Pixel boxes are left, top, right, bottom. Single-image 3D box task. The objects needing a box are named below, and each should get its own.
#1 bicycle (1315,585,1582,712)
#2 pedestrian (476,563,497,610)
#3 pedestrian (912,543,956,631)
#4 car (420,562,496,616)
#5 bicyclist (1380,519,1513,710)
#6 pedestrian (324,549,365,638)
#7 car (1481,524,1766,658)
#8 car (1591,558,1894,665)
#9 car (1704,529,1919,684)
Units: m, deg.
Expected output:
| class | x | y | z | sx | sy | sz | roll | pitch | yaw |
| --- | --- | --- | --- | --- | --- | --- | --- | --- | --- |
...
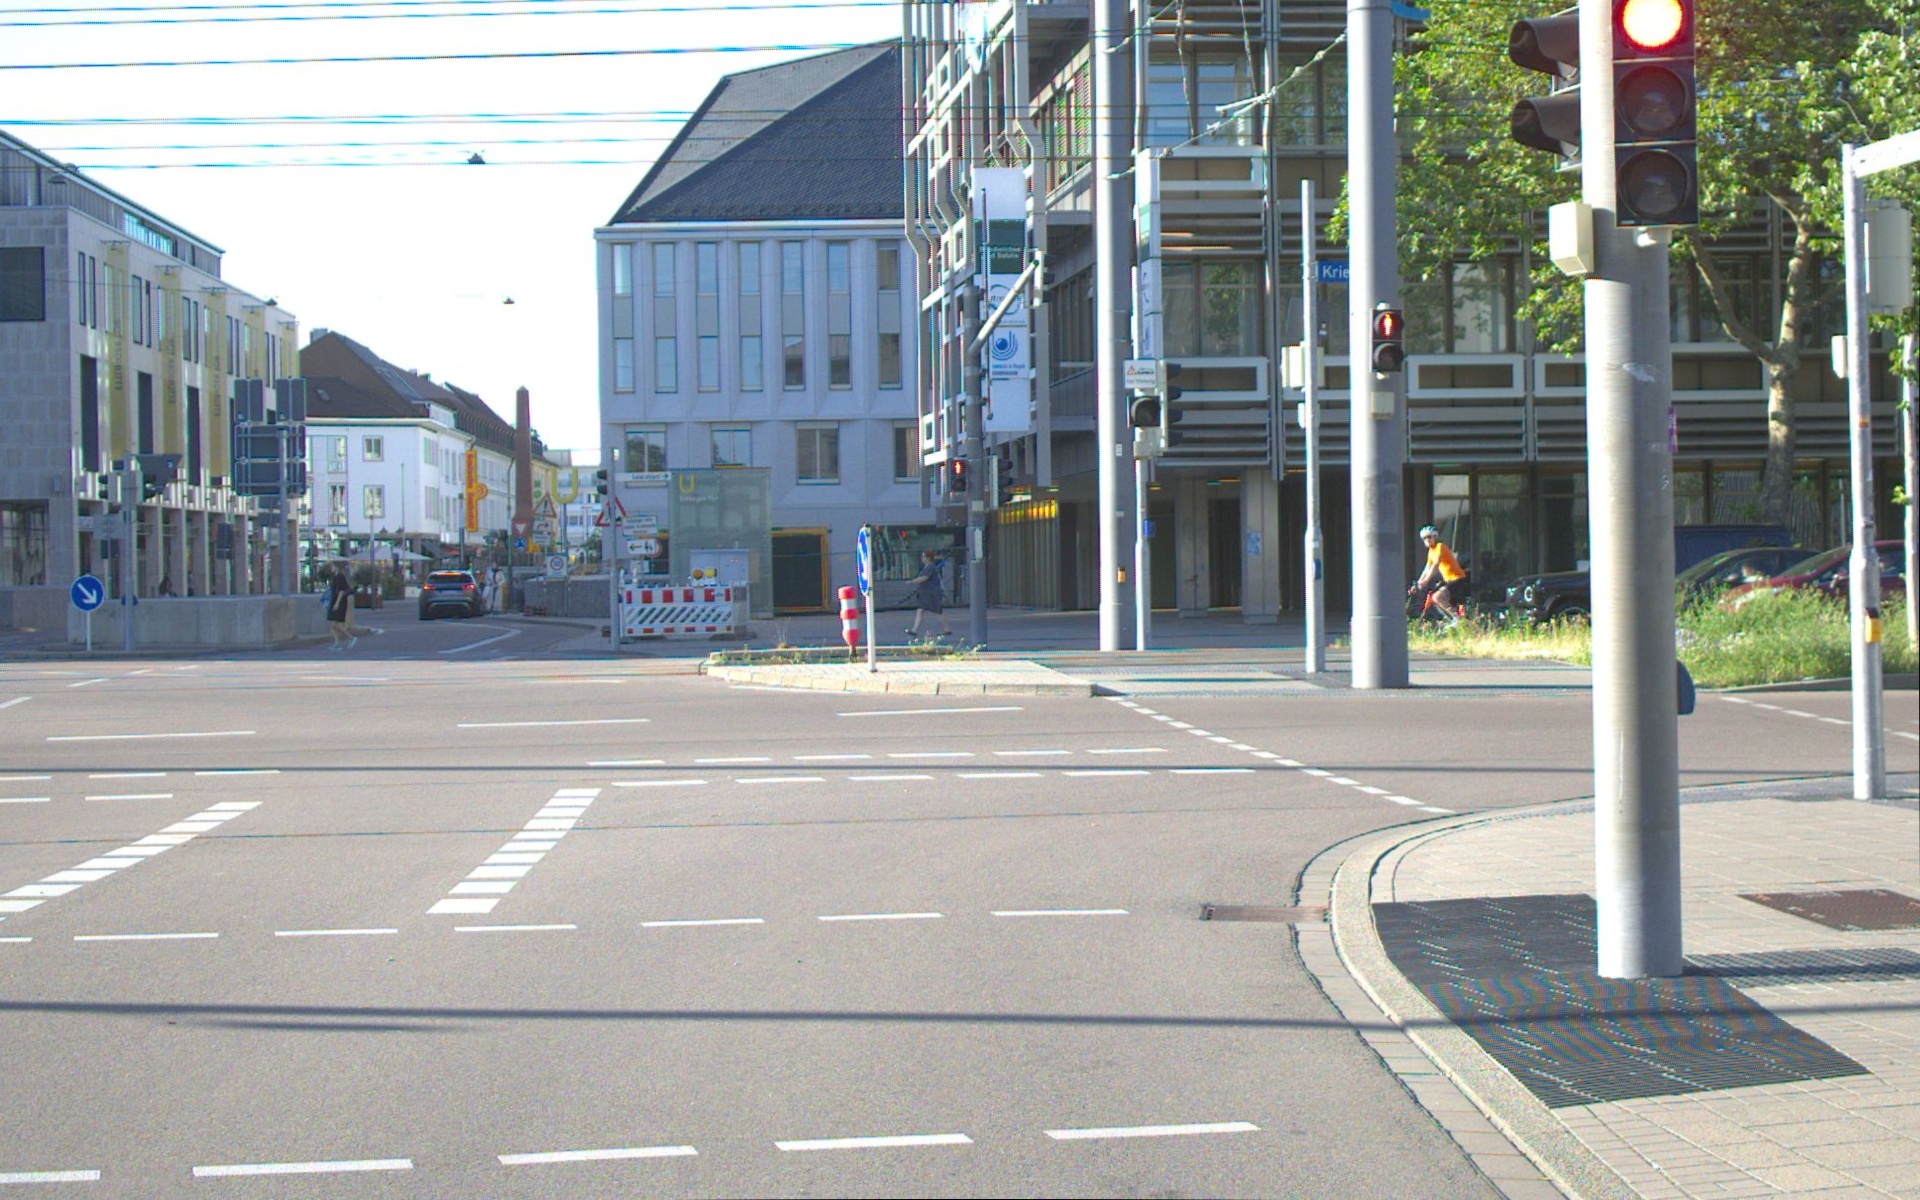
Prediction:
| class | x | y | z | sx | sy | sz | roll | pitch | yaw |
| --- | --- | --- | --- | --- | --- | --- | --- | --- | --- |
| bicycle | 6.695 | 0.648 | 47.145 | 3.490 | 1.653 | 0.932 | -1 | 1 | -9 |
| pedestrian | -14.062 | -0.404 | 102.116 | 0.609 | 1.406 | 0.570 | -1 | 1 | -6 |
| pedestrian | -0.489 | -0.248 | 64.911 | 0.729 | 1.652 | 0.651 | -1 | 1 | -7 |
| car | -15.809 | -0.357 | 108.420 | 2.199 | 1.601 | 4.327 | -1 | 1 | -6 |
| bicyclist | 6.663 | 0.188 | 47.138 | 1.567 | 2.571 | 0.932 | -1 | 1 | -9 |
| pedestrian | -11.670 | -0.129 | 65.174 | 0.663 | 1.652 | 0.755 | -1 | 1 | -3 |
| car | 10.346 | -0.144 | 53.776 | 3.986 | 2.007 | 2.000 | 1 | 0 | -3 |
| car | 11.495 | 0.157 | 50.659 | 3.986 | 1.503 | 1.868 | 0 | 1 | -3 |
| car | 12.289 | 0.087 | 46.408 | 3.986 | 2.007 | 2.000 | 1 | 0 | -3 |
